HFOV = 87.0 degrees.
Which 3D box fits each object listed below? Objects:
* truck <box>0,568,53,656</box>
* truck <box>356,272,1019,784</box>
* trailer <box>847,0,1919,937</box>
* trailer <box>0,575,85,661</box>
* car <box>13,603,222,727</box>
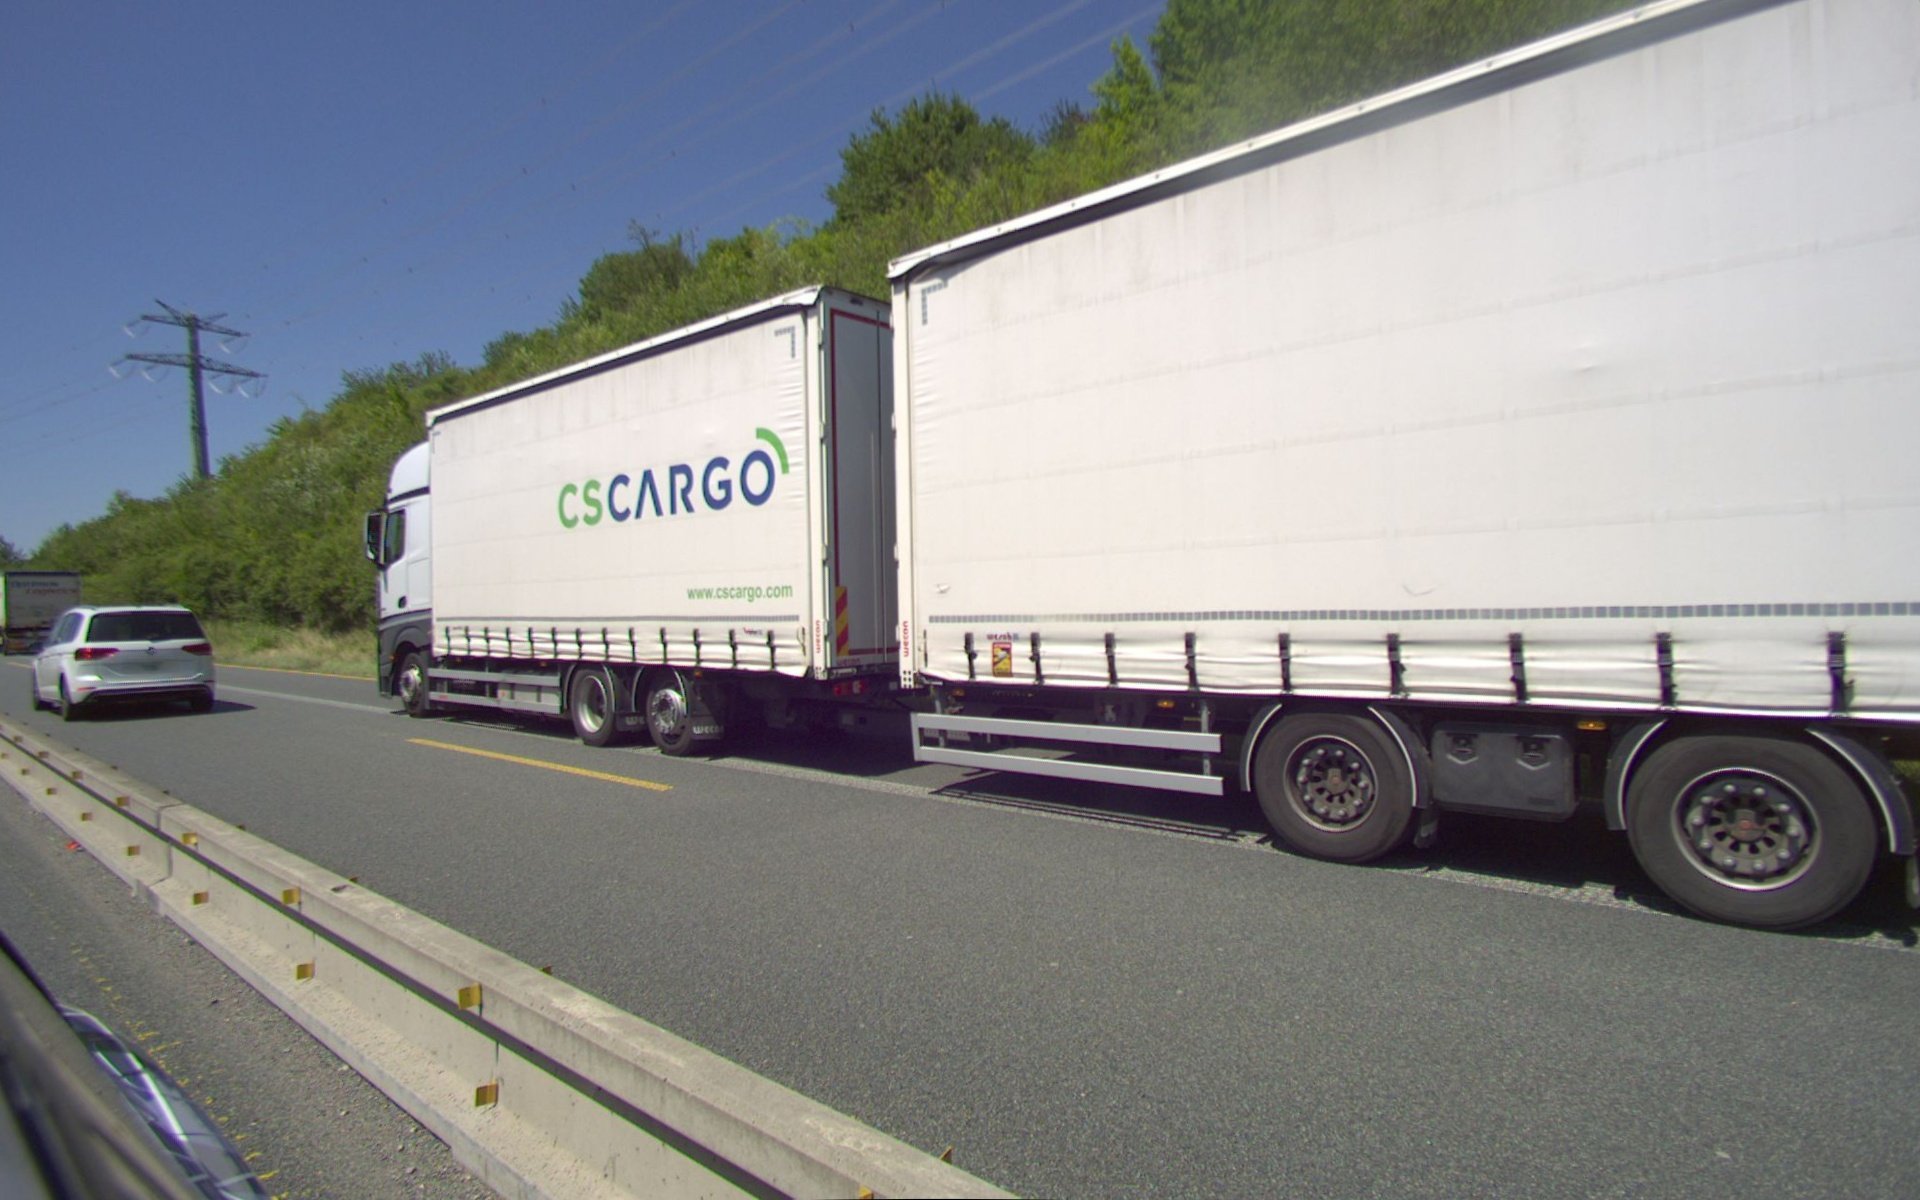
[{"bbox_3d":[-47.647,0.635,50.288,9.646,4.022,2.622,-2,1,42],"label":"truck"},{"bbox_3d":[-4.135,-0.498,12.300,10.348,4.022,2.385,-1,0,42],"label":"truck"},{"bbox_3d":[3.208,-0.882,5.977,8.444,4.345,2.610,-2,0,42],"label":"trailer"},{"bbox_3d":[-40.711,0.765,44.099,8.915,3.361,2.623,-2,1,42],"label":"trailer"},{"bbox_3d":[-13.185,0.909,15.753,4.148,1.643,1.806,-1,0,40],"label":"car"}]
